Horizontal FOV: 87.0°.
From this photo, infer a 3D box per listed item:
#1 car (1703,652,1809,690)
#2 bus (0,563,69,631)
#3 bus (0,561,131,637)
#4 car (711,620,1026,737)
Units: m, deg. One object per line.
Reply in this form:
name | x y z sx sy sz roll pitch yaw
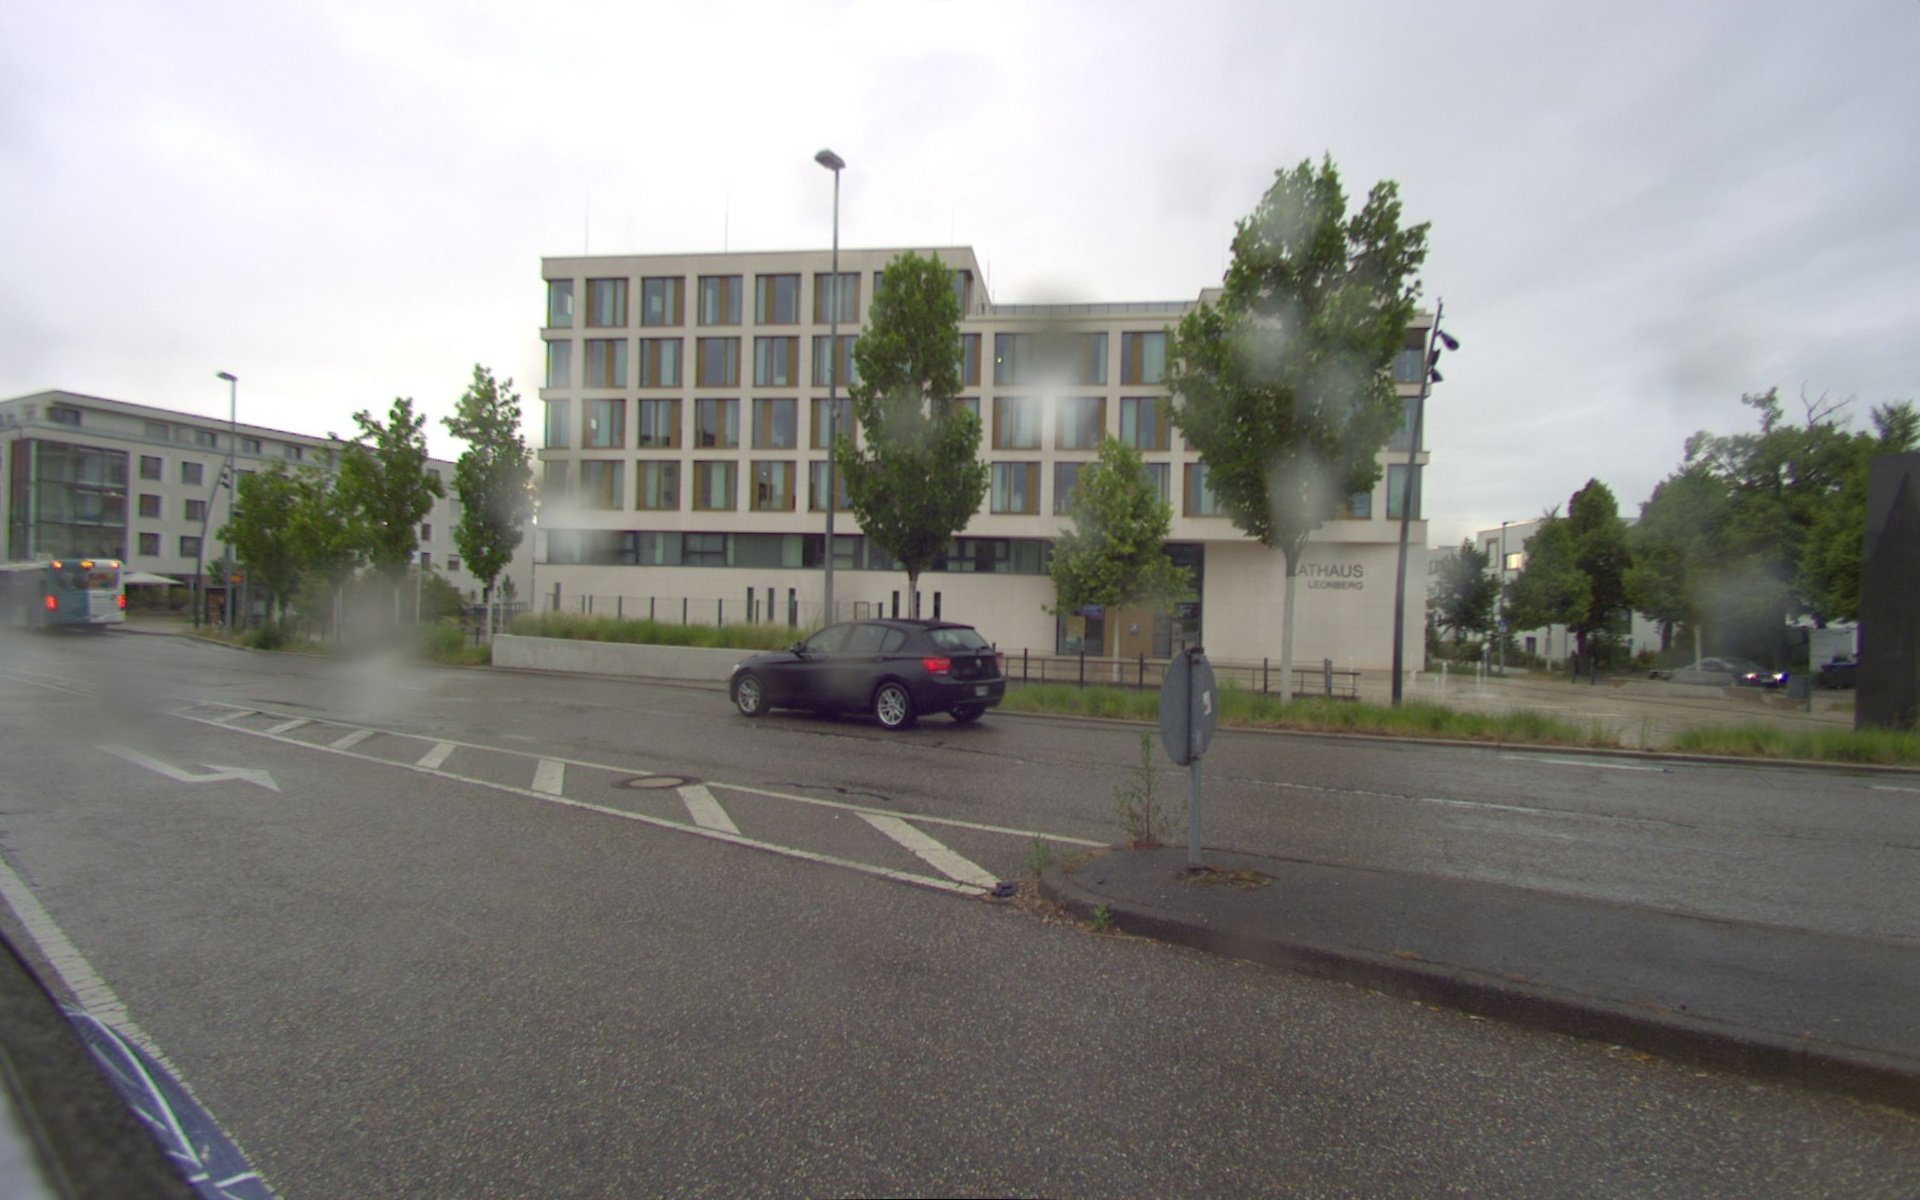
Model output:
car | 35.185 3.132 44.895 1.978 1.551 3.987 1 -3 10
bus | -47.863 -0.086 50.698 8.862 3.138 2.768 0 -2 35
bus | -40.340 0.015 45.401 9.352 3.138 2.751 -1 -2 37
car | -1.352 0.986 14.052 4.273 1.401 1.769 -1 -2 36
